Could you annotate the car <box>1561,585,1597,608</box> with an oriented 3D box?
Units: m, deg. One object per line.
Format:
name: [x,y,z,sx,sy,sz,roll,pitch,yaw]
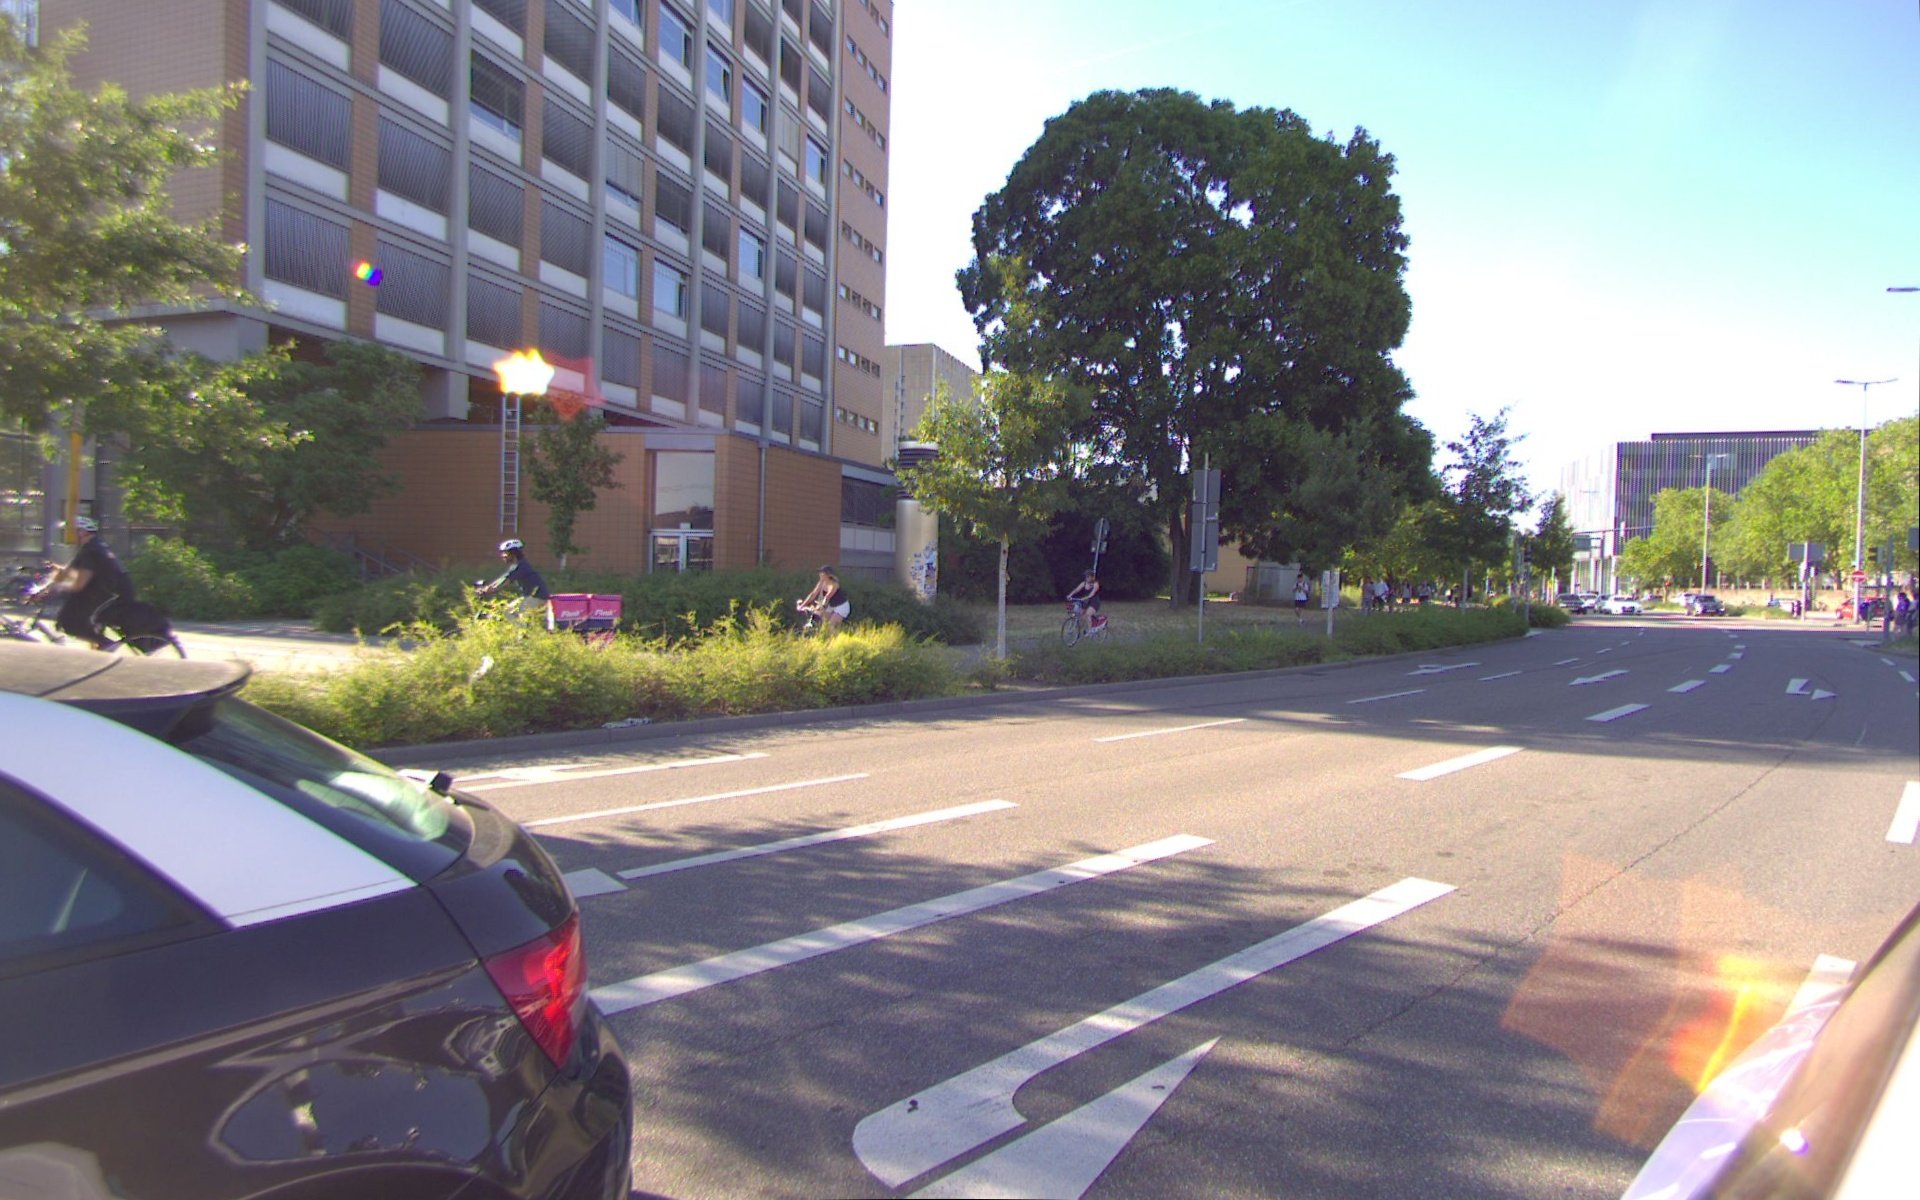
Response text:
car: [43.929,-0.272,71.885,1.786,1.538,3.964,2,2,26]

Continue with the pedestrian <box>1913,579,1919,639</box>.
pedestrian: [28.868,0.277,29.920,0.923,1.762,0.746,2,1,39]

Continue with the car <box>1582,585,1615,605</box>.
car: [53.068,-0.450,84.156,1.907,1.538,3.981,2,2,26]

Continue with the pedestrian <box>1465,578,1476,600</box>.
pedestrian: [41.903,-0.915,83.007,0.705,1.734,0.728,2,1,24]

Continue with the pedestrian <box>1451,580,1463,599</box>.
pedestrian: [42.794,-0.913,87.087,0.753,1.562,0.842,2,1,18]

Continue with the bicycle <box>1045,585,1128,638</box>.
bicycle: [2.851,0.236,22.630,2.032,1.135,0.718,-1,0,-43]

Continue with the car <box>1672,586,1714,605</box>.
car: [68.740,-0.442,94.944,2.171,1.705,4.570,2,2,24]

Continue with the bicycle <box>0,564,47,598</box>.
bicycle: [-24.806,-0.504,26.247,0.522,0.868,1.644,2,1,18]

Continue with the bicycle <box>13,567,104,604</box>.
bicycle: [-22.311,-0.365,25.087,0.522,0.868,1.644,2,1,18]

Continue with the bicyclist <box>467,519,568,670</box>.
bicyclist: [-5.724,-0.077,13.080,1.072,1.856,0.781,1,1,-33]

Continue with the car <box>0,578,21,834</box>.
car: [-6.948,0.611,4.485,3.905,1.462,1.806,0,0,-37]

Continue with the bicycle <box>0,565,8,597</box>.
bicycle: [-26.130,-0.499,26.559,0.522,0.868,1.644,2,1,18]

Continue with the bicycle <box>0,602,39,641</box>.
bicycle: [-14.523,0.322,14.920,0.428,0.546,1.340,4,2,35]

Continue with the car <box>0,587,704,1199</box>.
car: [-2.470,0.711,1.069,3.912,1.462,1.802,0,0,-44]

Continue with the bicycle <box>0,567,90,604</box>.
bicycle: [-22.834,-0.369,25.272,0.522,0.868,1.644,2,1,18]

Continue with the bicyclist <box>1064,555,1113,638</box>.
bicyclist: [2.870,-0.083,22.641,0.835,1.810,0.716,0,0,-43]

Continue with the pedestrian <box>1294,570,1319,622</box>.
pedestrian: [11.833,-0.150,34.543,0.618,1.720,0.623,2,1,32]

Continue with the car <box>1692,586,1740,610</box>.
car: [51.527,-0.162,69.030,1.907,1.538,3.981,2,2,26]

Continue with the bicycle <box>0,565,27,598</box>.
bicycle: [-25.495,-0.492,26.412,0.522,0.868,1.644,2,1,18]

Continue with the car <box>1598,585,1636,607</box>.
car: [50.584,-0.328,77.987,1.907,1.538,3.981,2,2,26]

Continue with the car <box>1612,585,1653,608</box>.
car: [47.416,-0.265,71.436,1.786,1.538,4.391,2,2,26]

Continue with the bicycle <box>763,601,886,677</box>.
bicycle: [-2.145,0.609,16.153,1.836,1.135,0.718,2,-1,-41]

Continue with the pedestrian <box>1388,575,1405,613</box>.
pedestrian: [19.067,-0.273,44.200,0.616,1.594,0.634,2,1,24]

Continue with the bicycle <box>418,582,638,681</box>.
bicycle: [-5.594,0.381,13.181,2.530,1.170,0.781,0,2,-33]

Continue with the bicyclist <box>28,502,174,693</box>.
bicyclist: [-8.887,-0.037,10.478,0.778,1.853,1.076,2,2,43]

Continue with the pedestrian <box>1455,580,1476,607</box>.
pedestrian: [33.609,-0.424,67.289,1.005,1.771,0.845,2,1,18]

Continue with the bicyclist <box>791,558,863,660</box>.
bicyclist: [-2.123,0.143,16.168,0.834,1.568,0.716,2,-1,-41]

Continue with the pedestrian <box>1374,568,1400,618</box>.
pedestrian: [16.263,-0.274,38.556,0.609,1.892,0.578,1,1,-15]

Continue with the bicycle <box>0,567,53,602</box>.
bicycle: [-24.005,-0.399,25.523,0.522,0.868,1.644,2,1,18]

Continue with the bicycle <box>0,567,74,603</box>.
bicycle: [-23.386,-0.386,25.432,0.522,0.868,1.644,2,1,18]

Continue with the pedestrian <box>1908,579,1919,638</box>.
pedestrian: [29.330,0.260,30.563,0.923,1.762,0.746,2,1,39]

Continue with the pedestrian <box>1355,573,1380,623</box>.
pedestrian: [15.717,-0.091,39.061,0.609,1.892,0.578,1,1,-15]

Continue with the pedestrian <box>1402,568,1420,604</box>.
pedestrian: [22.213,-0.690,49.834,0.667,1.725,0.872,2,1,18]

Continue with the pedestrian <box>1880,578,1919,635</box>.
pedestrian: [29.931,0.207,32.160,0.923,1.762,0.746,2,1,39]

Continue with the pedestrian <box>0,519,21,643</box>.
pedestrian: [-13.472,-0.254,13.778,0.774,1.680,0.810,0,-1,-24]

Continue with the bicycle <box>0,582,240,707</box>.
bicycle: [-8.904,0.413,10.475,0.778,1.170,2.255,3,2,43]

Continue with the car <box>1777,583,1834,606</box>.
car: [65.824,-0.412,78.881,2.172,1.606,4.567,2,0,24]

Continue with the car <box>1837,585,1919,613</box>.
car: [56.309,-0.026,61.911,2.163,1.606,4.585,2,0,14]
